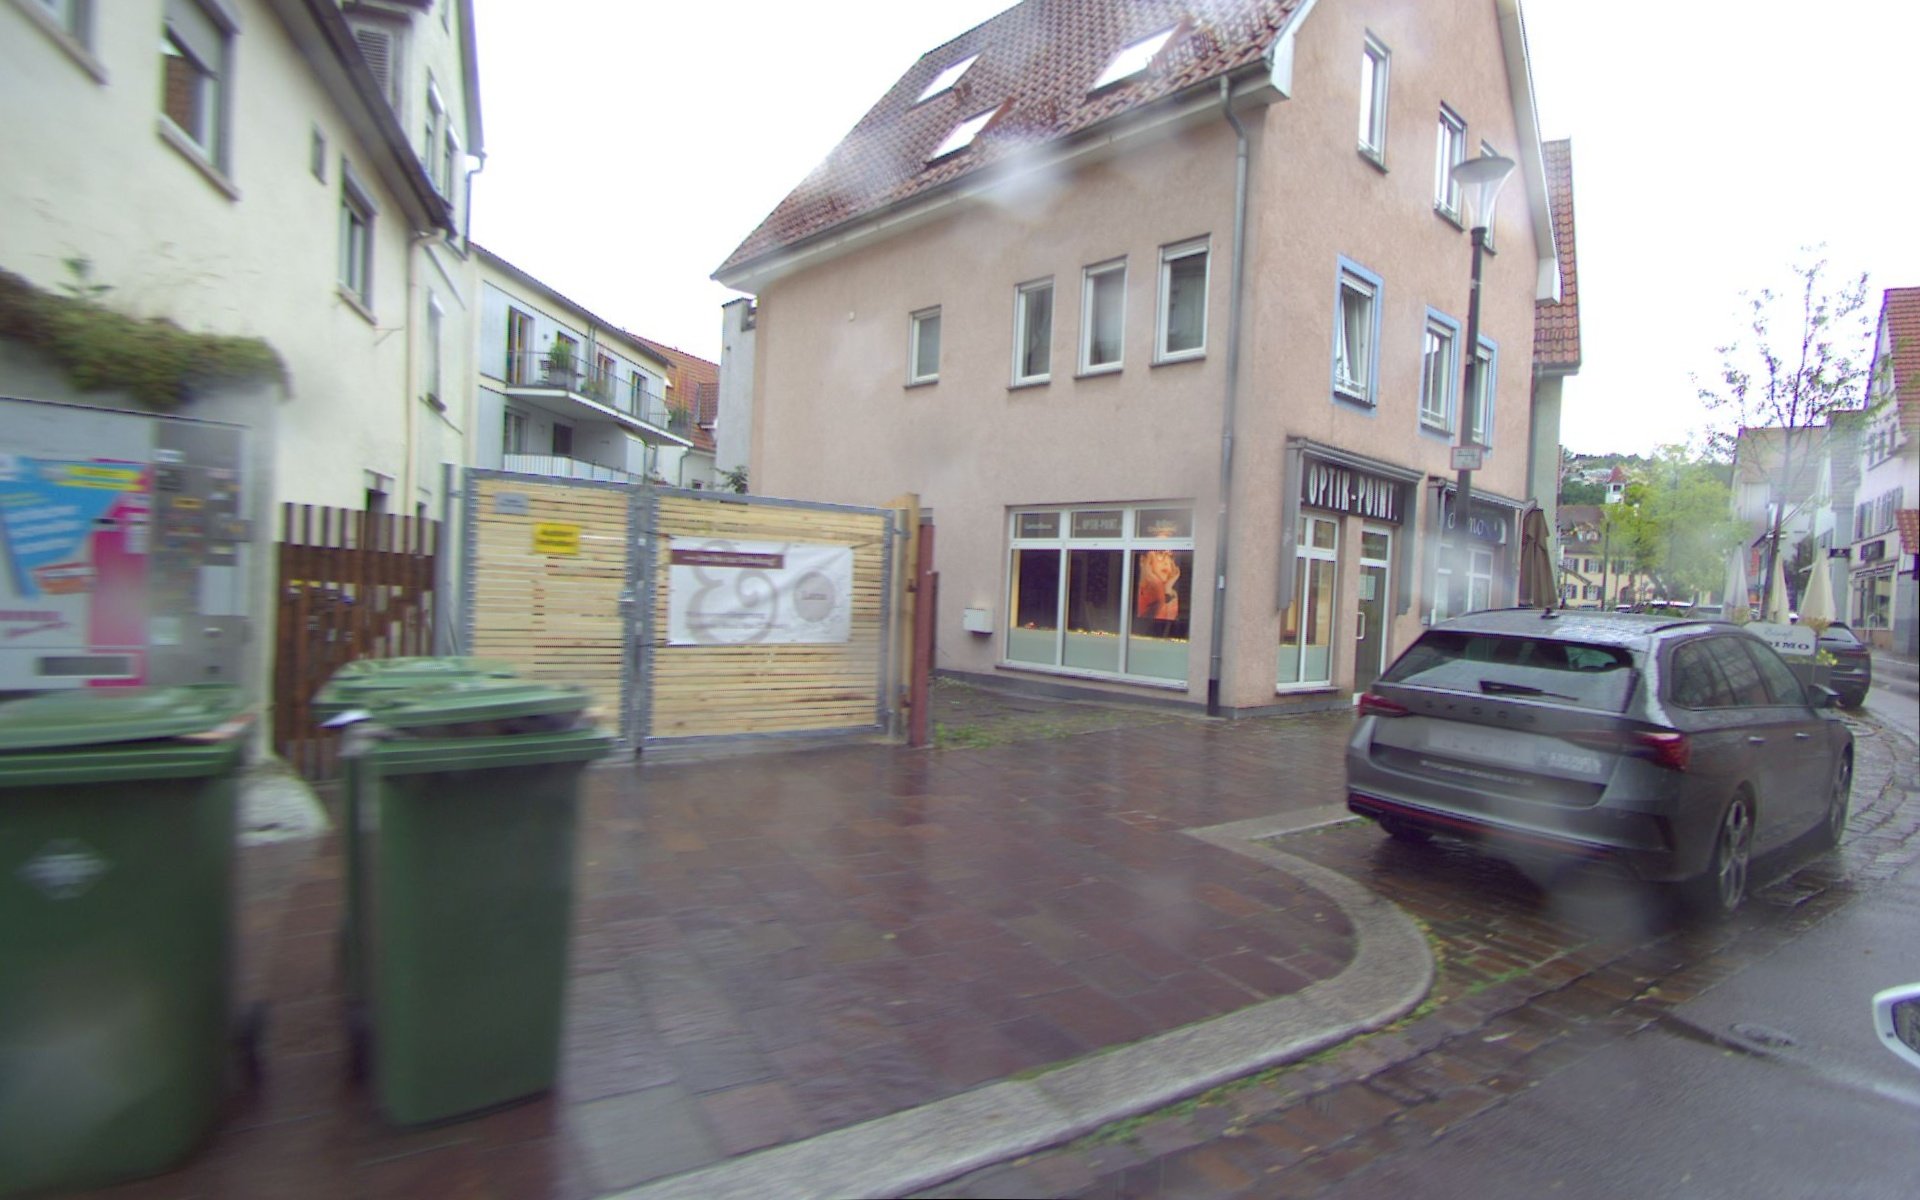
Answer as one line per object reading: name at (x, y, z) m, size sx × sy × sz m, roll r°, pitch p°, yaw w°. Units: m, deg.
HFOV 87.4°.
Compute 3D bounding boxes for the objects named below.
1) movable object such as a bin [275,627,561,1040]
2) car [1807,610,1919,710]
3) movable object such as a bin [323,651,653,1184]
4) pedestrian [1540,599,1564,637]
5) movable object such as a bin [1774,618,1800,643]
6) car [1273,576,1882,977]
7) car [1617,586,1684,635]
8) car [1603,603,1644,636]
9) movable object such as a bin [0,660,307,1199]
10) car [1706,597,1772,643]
movable object such as a bin at (-1.784, 0.708, 3.367) m, size 0.710 × 1.137 × 0.697 m, roll 3°, pitch 3°, yaw -27°
car at (15.923, 0.956, 17.303) m, size 1.841 × 1.461 × 4.594 m, roll 4°, pitch 2°, yaw 42°
movable object such as a bin at (-1.277, 0.747, 2.752) m, size 0.710 × 1.159 × 0.697 m, roll 1°, pitch 2°, yaw -27°
pedestrian at (27.476, 0.854, 46.619) m, size 0.776 × 1.704 × 1.175 m, roll 4°, pitch 0°, yaw 27°
movable object such as a bin at (38.141, 1.406, 46.323) m, size 0.781 × 1.095 × 0.614 m, roll 2°, pitch 0°, yaw 29°
car at (4.024, 0.768, 6.218) m, size 4.364 × 1.561 × 1.859 m, roll 2°, pitch 2°, yaw -40°
car at (26.860, 0.459, 39.193) m, size 1.798 × 1.688 × 4.632 m, roll 4°, pitch 0°, yaw 32°
car at (35.449, 1.007, 53.753) m, size 1.668 × 1.559 × 4.109 m, roll 4°, pitch 3°, yaw 33°
movable object such as a bin at (-2.048, 0.749, 2.402) m, size 0.709 × 1.151 × 0.679 m, roll 2°, pitch 1°, yaw -26°
car at (34.773, 0.852, 44.907) m, size 1.868 × 1.836 × 3.989 m, roll 5°, pitch 3°, yaw 33°
